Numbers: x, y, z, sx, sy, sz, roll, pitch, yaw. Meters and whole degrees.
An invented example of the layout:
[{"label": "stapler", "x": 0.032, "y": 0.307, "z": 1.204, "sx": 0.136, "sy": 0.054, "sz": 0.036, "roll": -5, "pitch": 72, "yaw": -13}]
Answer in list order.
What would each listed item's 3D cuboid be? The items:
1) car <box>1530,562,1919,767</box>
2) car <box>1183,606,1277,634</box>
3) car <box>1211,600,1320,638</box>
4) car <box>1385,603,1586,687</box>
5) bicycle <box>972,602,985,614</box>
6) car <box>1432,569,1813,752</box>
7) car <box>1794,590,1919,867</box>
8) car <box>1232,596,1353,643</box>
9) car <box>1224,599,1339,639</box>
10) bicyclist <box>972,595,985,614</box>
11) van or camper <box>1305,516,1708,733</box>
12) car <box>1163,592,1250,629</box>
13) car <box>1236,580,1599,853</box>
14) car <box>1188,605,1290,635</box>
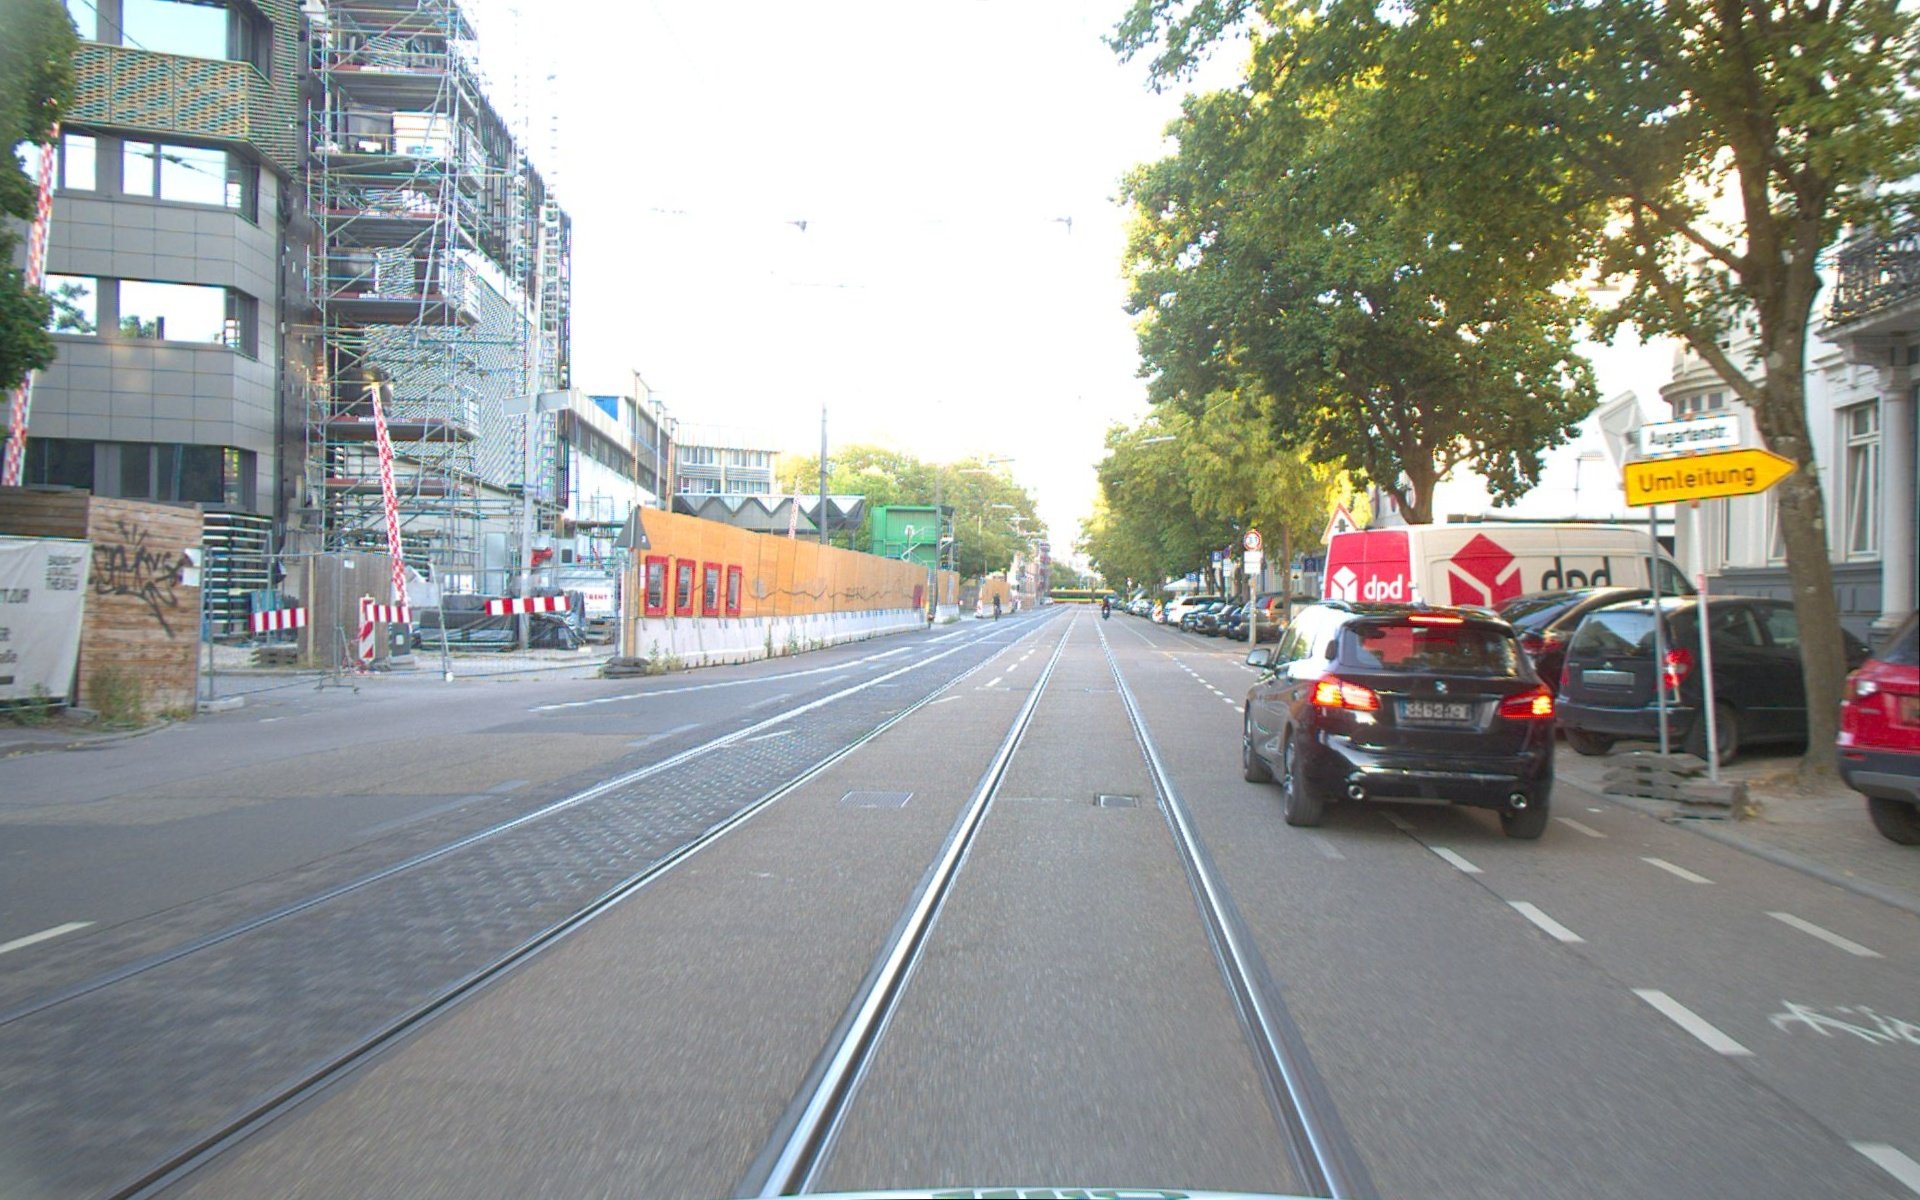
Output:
[{"label": "car", "x": 8.054, "y": 0.588, "z": 16.993, "sx": 3.888, "sy": 1.796, "sz": 1.828, "roll": -3, "pitch": 0, "yaw": -22}, {"label": "car", "x": 12.036, "y": 0.883, "z": 73.789, "sx": 3.870, "sy": 1.195, "sz": 1.631, "roll": 1, "pitch": 0, "yaw": -10}, {"label": "car", "x": 11.919, "y": 0.723, "z": 64.673, "sx": 3.872, "sy": 1.430, "sz": 1.630, "roll": 0, "pitch": 0, "yaw": -12}, {"label": "car", "x": 9.857, "y": 0.814, "z": 30.964, "sx": 3.737, "sy": 1.332, "sz": 1.635, "roll": -3, "pitch": 0, "yaw": -35}, {"label": "bicycle", "x": 1.419, "y": 0.619, "z": 125.479, "sx": 0.928, "sy": 0.864, "sz": 2.697, "roll": 1, "pitch": 0, "yaw": 2}, {"label": "car", "x": 7.642, "y": 0.640, "z": 19.109, "sx": 3.888, "sy": 1.796, "sz": 1.828, "roll": -3, "pitch": 0, "yaw": -22}, {"label": "car", "x": 7.535, "y": 0.701, "z": 10.566, "sx": 3.888, "sy": 1.631, "sz": 1.828, "roll": -3, "pitch": 0, "yaw": -22}, {"label": "car", "x": 11.728, "y": 0.683, "z": 58.357, "sx": 3.872, "sy": 1.606, "sz": 1.630, "roll": 1, "pitch": 0, "yaw": -12}, {"label": "car", "x": 11.937, "y": 0.703, "z": 61.465, "sx": 3.872, "sy": 1.430, "sz": 1.630, "roll": 0, "pitch": 0, "yaw": -12}, {"label": "bicyclist", "x": 1.380, "y": 0.336, "z": 124.657, "sx": 0.925, "sy": 1.369, "sz": 1.112, "roll": 1, "pitch": 0, "yaw": 1}, {"label": "van or camper", "x": 7.494, "y": 0.245, "z": 22.478, "sx": 5.475, "sy": 2.574, "sz": 2.065, "roll": -3, "pitch": 0, "yaw": -31}, {"label": "car", "x": 11.982, "y": 0.517, "z": 80.544, "sx": 3.870, "sy": 1.752, "sz": 1.631, "roll": 1, "pitch": 0, "yaw": -10}, {"label": "car", "x": 3.279, "y": 0.736, "z": 12.670, "sx": 1.842, "sy": 1.648, "sz": 4.002, "roll": 3, "pitch": 0, "yaw": 4}, {"label": "car", "x": 11.619, "y": 0.820, "z": 69.001, "sx": 3.872, "sy": 1.195, "sz": 1.630, "roll": 0, "pitch": 0, "yaw": -12}]
